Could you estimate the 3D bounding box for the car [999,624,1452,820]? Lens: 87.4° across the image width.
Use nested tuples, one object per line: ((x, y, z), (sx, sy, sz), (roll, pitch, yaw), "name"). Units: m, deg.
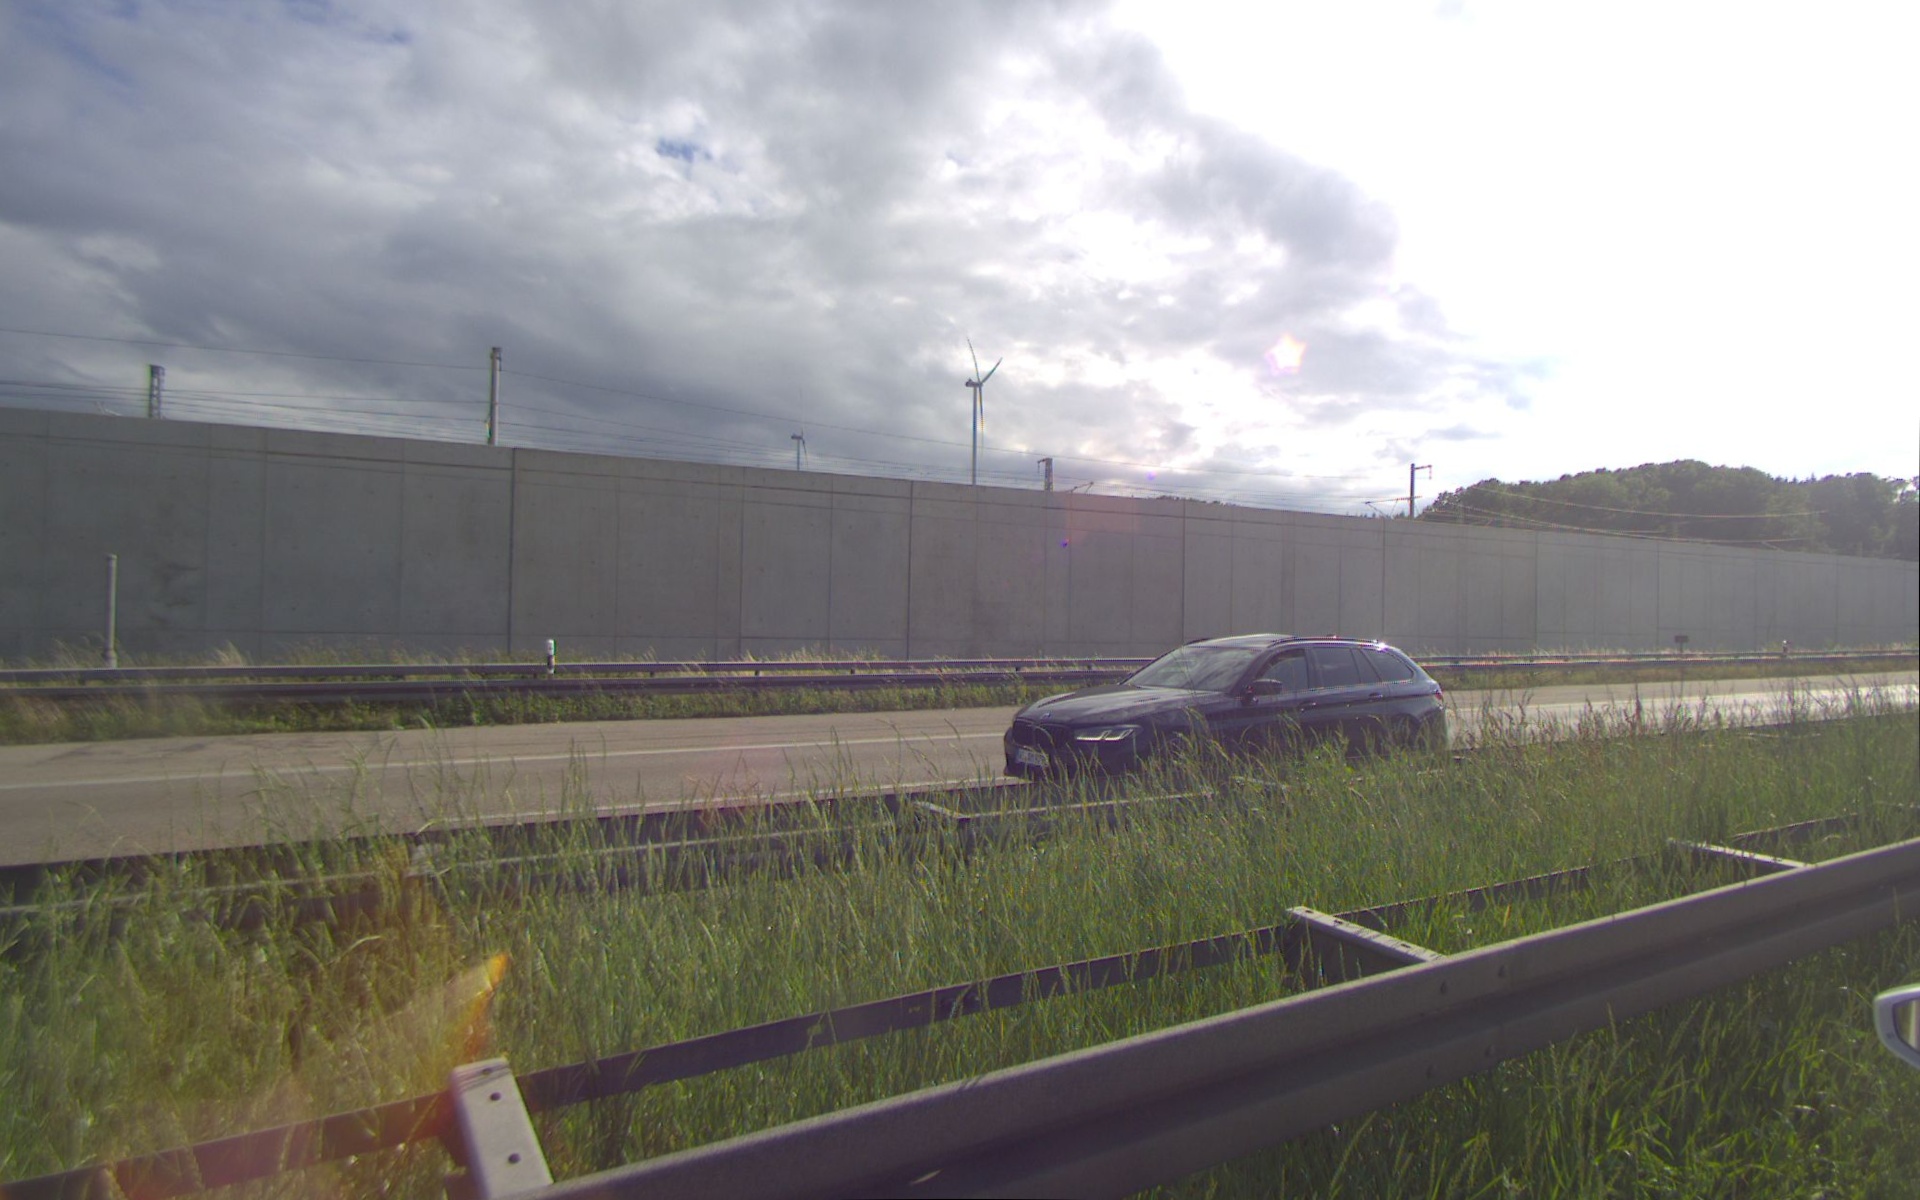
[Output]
((2.679, 1.043, 9.777), (4.376, 1.519, 1.689), (2, -1, -31), "car")
